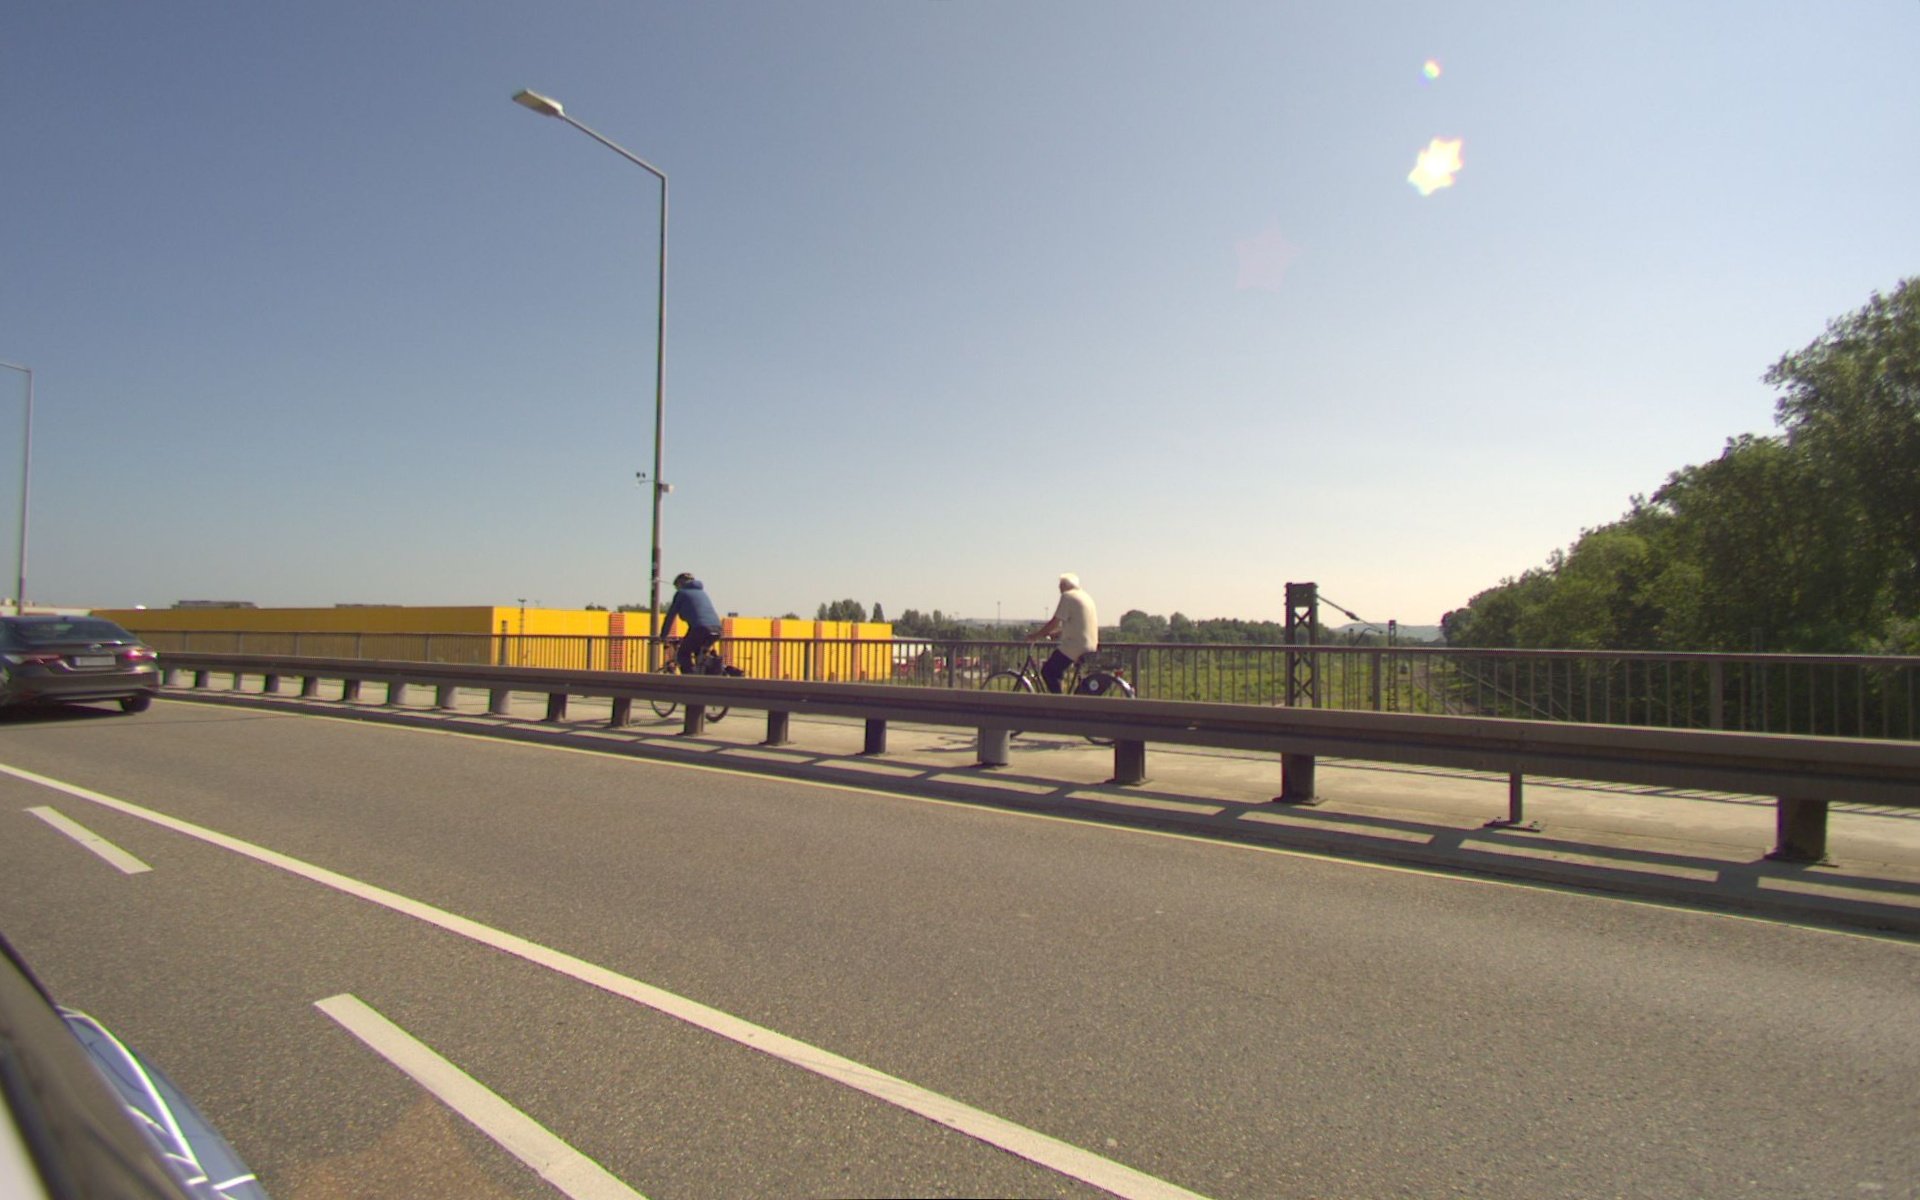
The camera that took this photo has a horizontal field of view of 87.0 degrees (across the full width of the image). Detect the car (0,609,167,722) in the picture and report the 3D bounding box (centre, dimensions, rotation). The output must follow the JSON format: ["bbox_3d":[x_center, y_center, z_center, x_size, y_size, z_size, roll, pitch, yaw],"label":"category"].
[{"bbox_3d":[-13.831,0.902,15.013,4.850,1.441,1.803,-1,-2,33],"label":"car"}]

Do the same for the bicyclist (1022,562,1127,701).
[{"bbox_3d":[1.149,0.297,10.186,0.945,1.339,0.483,0,0,38],"label":"bicyclist"}]

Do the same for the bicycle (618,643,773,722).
[{"bbox_3d":[-3.377,1.011,12.855,1.965,0.898,0.919,-2,-1,39],"label":"bicycle"}]

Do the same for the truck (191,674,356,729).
[{"bbox_3d":[-89.130,12.996,132.182,5.939,5.719,17.410,0,-1,23],"label":"truck"}]

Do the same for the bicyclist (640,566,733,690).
[{"bbox_3d":[-3.478,0.353,12.856,1.014,1.508,0.654,-1,-1,37],"label":"bicyclist"}]

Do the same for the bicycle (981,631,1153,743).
[{"bbox_3d":[1.062,0.852,10.311,1.707,1.055,0.568,-2,-4,39],"label":"bicycle"}]
